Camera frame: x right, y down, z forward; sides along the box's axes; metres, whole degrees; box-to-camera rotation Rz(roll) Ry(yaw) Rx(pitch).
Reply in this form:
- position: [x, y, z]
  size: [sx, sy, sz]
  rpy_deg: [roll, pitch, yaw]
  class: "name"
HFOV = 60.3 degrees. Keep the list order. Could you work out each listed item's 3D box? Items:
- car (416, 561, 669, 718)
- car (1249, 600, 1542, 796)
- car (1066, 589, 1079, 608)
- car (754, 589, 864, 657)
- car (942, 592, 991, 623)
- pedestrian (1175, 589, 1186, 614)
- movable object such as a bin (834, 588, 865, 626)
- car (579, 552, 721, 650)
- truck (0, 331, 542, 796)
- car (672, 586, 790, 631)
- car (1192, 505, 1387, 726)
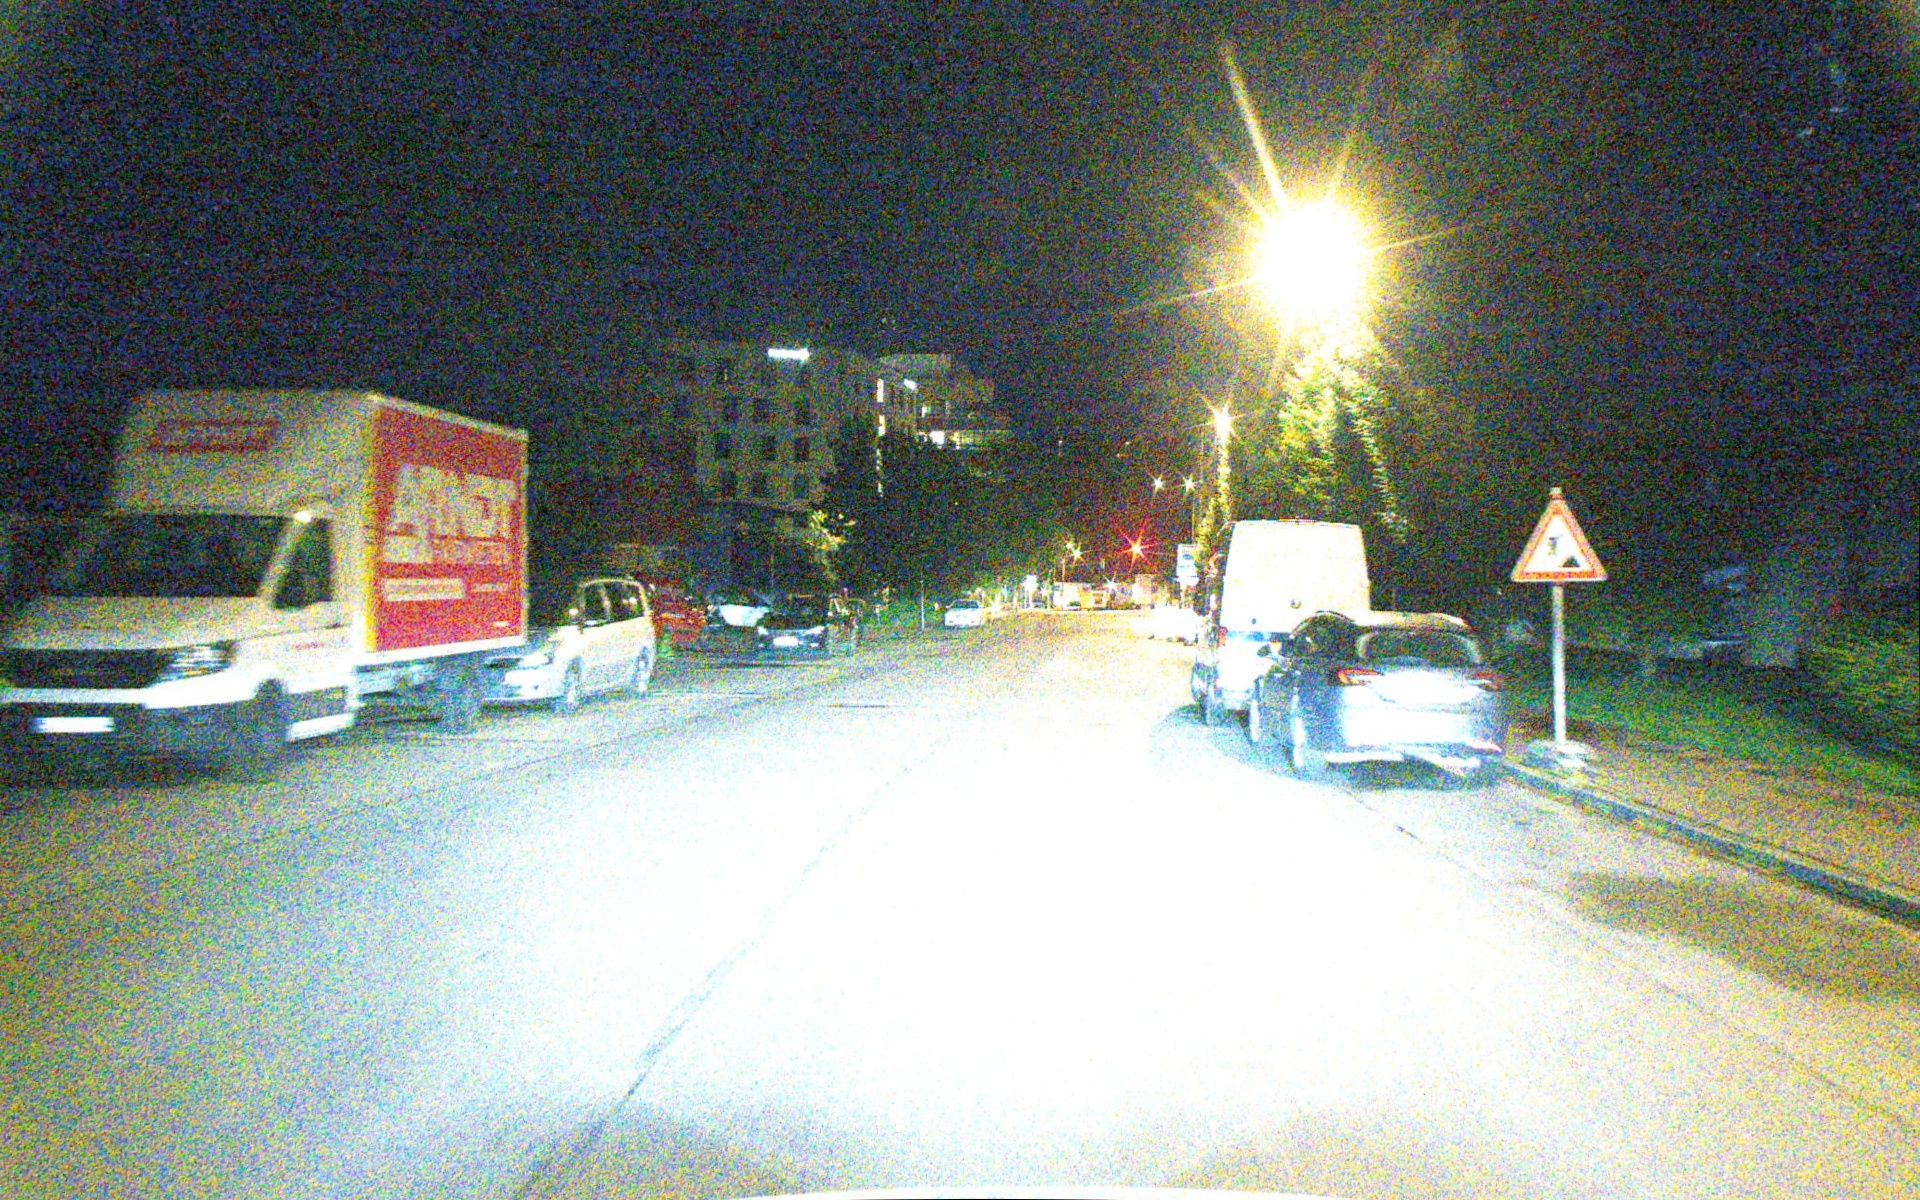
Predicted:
- position: [-5.385, 0.464, 22.054]
  size: [1.790, 1.848, 4.841]
  rpy_deg: [0, 0, 5]
  class: "car"
- position: [3.884, 0.780, 15.533]
  size: [1.675, 1.534, 4.641]
  rpy_deg: [0, 0, 2]
  class: "car"
- position: [17.778, -0.211, 261.254]
  size: [1.952, 3.026, 4.001]
  rpy_deg: [0, 0, 1]
  class: "car"
- position: [-3.610, 0.540, 40.350]
  size: [1.718, 1.553, 4.325]
  rpy_deg: [1, 0, 8]
  class: "car"
- position: [0.344, 0.361, 79.965]
  size: [1.870, 1.428, 4.341]
  rpy_deg: [0, 0, 7]
  class: "car"
- position: [17.475, 0.130, 131.163]
  size: [0.724, 2.016, 0.624]
  rpy_deg: [0, 0, -10]
  class: "pedestrian"
- position: [-4.520, 0.275, 67.864]
  size: [1.140, 1.522, 1.066]
  rpy_deg: [0, 0, 3]
  class: "movable object such as a bin"
- position: [-7.997, 0.012, 43.172]
  size: [1.951, 2.362, 4.971]
  rpy_deg: [-2, 0, 10]
  class: "car"
- position: [-6.328, -0.281, 15.596]
  size: [2.490, 3.338, 7.316]
  rpy_deg: [0, 0, 4]
  class: "truck"
- position: [-8.358, 0.306, 60.518]
  size: [3.902, 1.598, 1.818]
  rpy_deg: [-1, 0, 6]
  class: "car"
- position: [4.328, 0.167, 22.634]
  size: [1.978, 2.571, 6.055]
  rpy_deg: [1, 0, 5]
  class: "car"
